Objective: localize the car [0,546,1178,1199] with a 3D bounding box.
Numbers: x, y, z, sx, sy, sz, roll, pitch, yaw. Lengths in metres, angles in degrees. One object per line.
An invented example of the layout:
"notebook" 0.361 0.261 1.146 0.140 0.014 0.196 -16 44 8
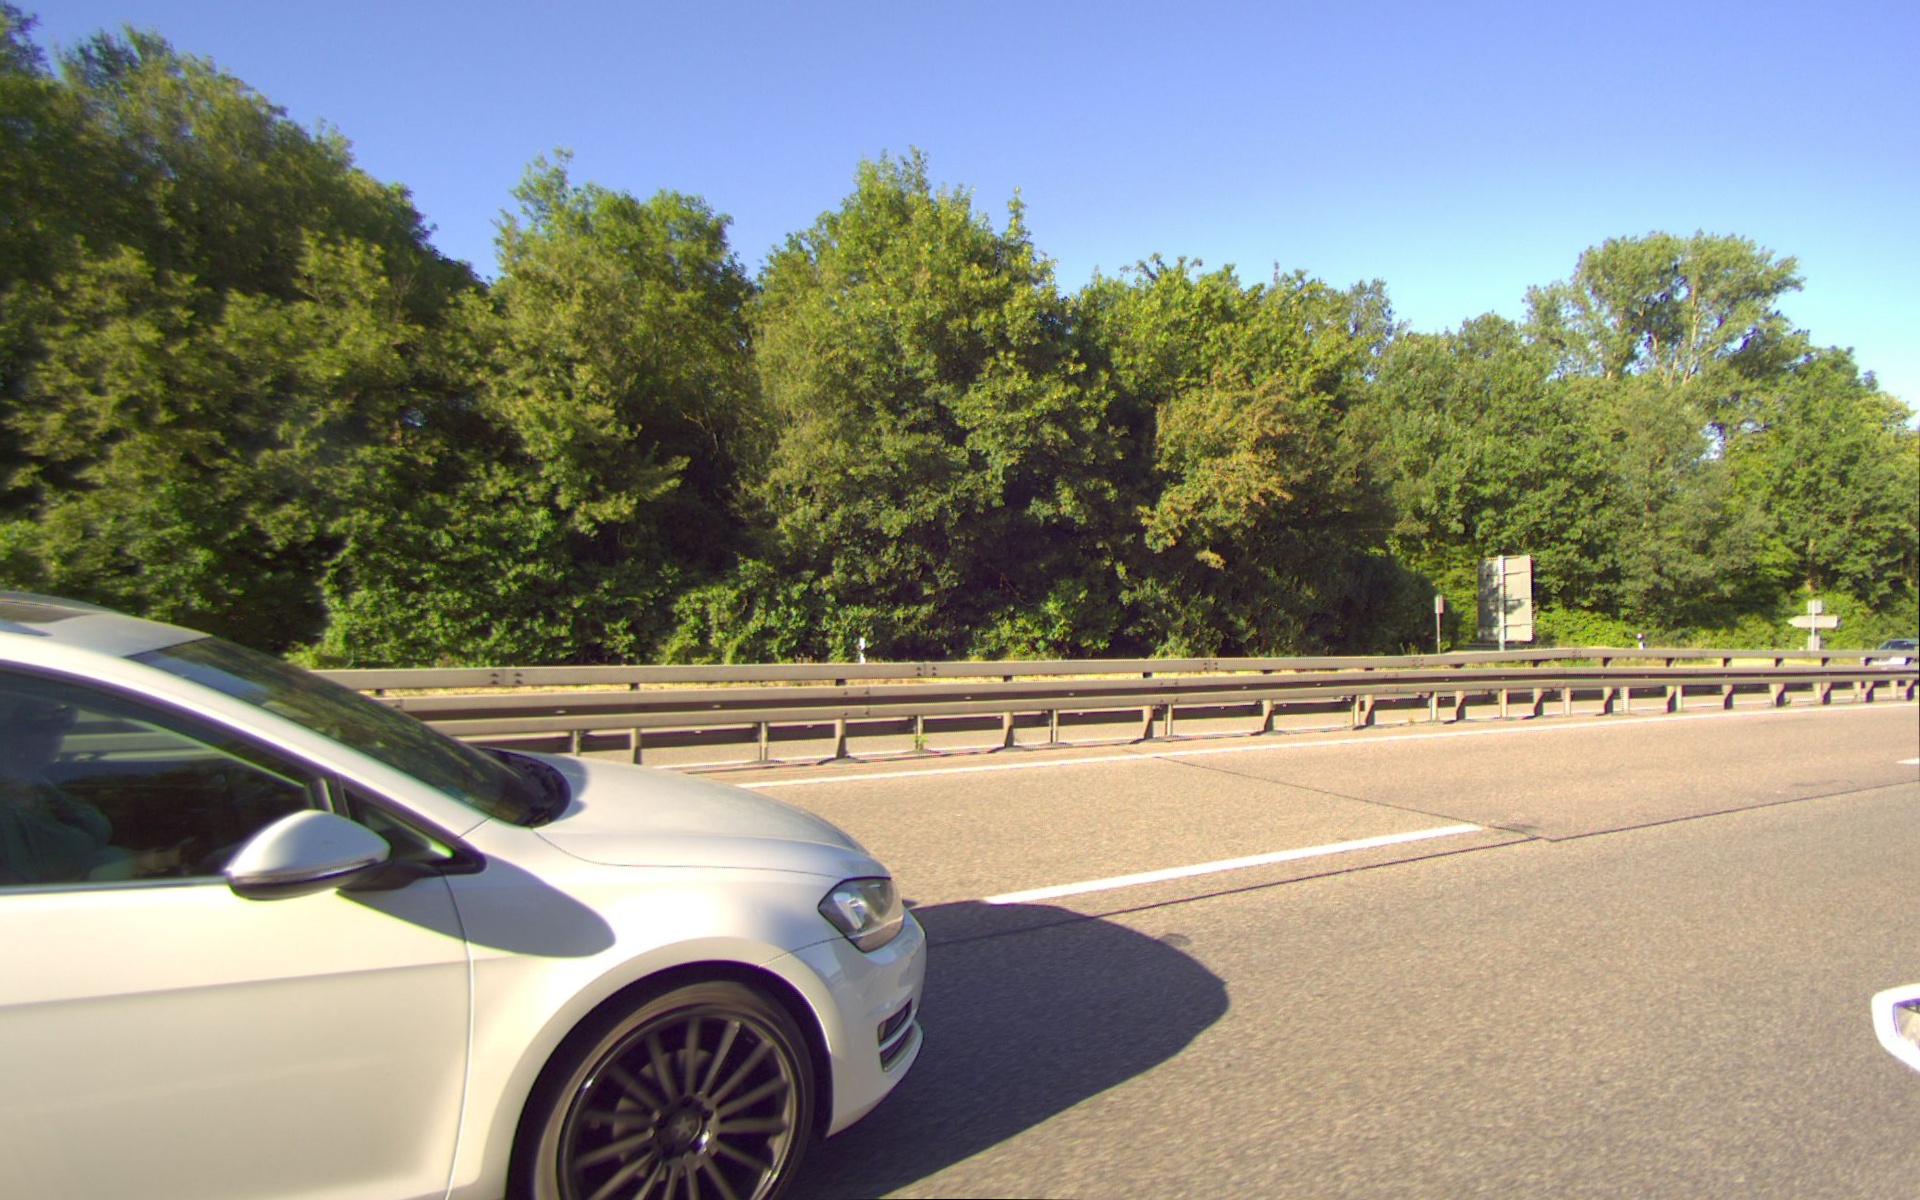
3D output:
"car" -2.255 0.666 2.247 5.534 1.528 1.920 1 0 -31

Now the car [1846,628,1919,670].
"car" 39.057 2.011 41.659 4.364 1.671 1.987 1 -1 -26
